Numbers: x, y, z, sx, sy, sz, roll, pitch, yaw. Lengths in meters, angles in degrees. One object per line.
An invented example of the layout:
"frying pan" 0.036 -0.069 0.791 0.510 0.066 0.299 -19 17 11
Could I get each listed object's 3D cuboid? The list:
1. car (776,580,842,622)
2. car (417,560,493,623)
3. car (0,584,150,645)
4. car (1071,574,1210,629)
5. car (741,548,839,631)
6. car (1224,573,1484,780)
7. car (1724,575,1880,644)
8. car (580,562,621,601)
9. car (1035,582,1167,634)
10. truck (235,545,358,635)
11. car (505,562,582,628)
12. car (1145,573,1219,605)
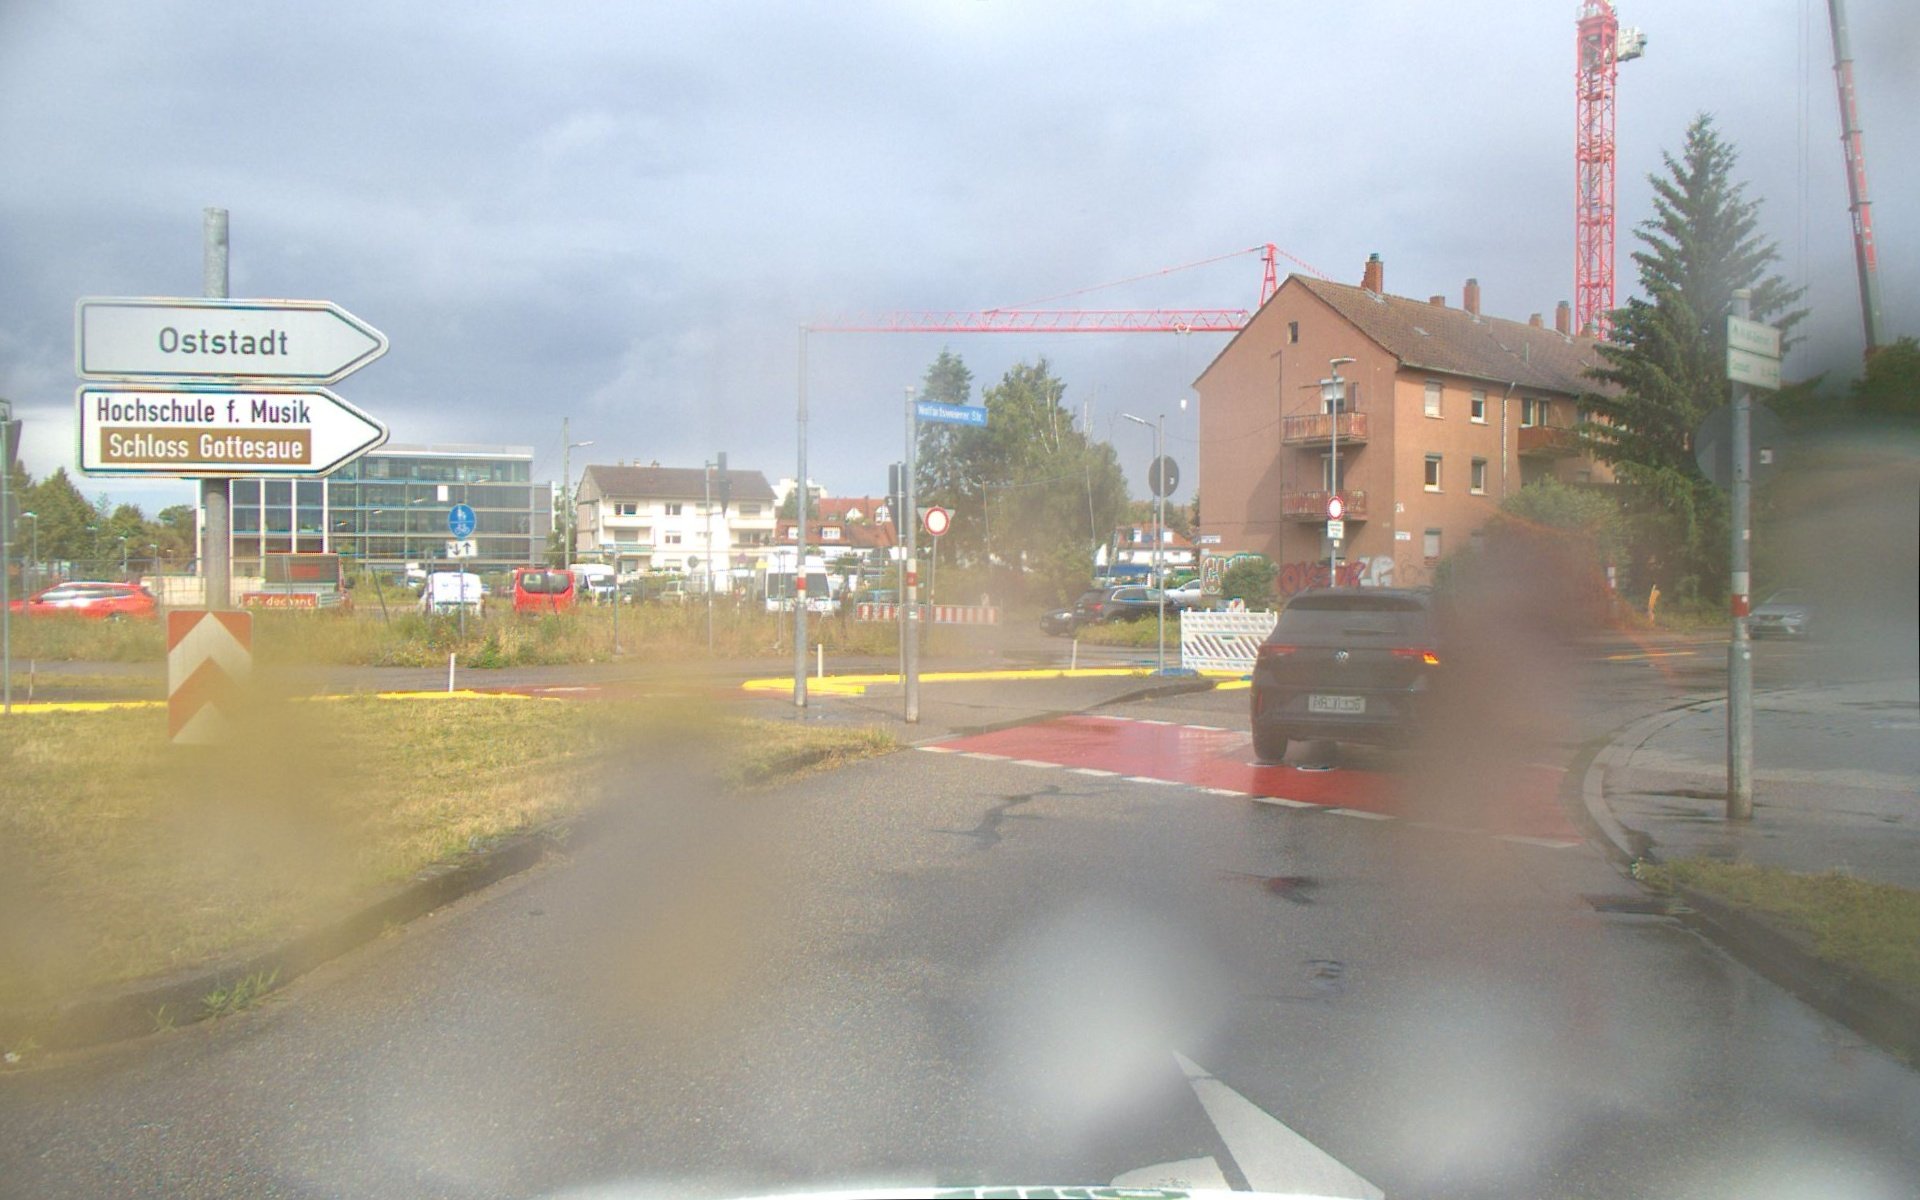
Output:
"car" -7.877 0.034 86.124 1.973 2.160 3.959 0 1 -30
"car" -15.327 -0.290 50.062 1.826 1.729 3.973 0 3 -23
"car" -24.815 0.374 45.954 4.131 1.536 1.841 0 3 -28
"car" 5.550 0.028 51.039 3.972 1.661 1.613 0 0 -11
"car" -4.978 -0.371 47.686 2.001 2.121 6.246 0 3 -13
"car" 3.809 0.577 15.499 1.858 1.646 4.001 1 1 21
"car" 23.933 0.230 46.955 4.646 1.762 2.056 -1 3 -36
"car" -21.858 -1.137 100.394 2.332 2.121 4.955 0 3 -13
"car" 4.547 0.244 53.524 3.972 1.661 1.613 0 0 -11
"truck" -18.478 -0.355 46.358 2.349 2.249 6.081 0 3 -14
"car" -12.214 -0.170 48.344 1.894 1.729 3.980 0 3 -18
"car" 10.875 -0.524 80.978 3.435 1.545 1.618 0 1 12
